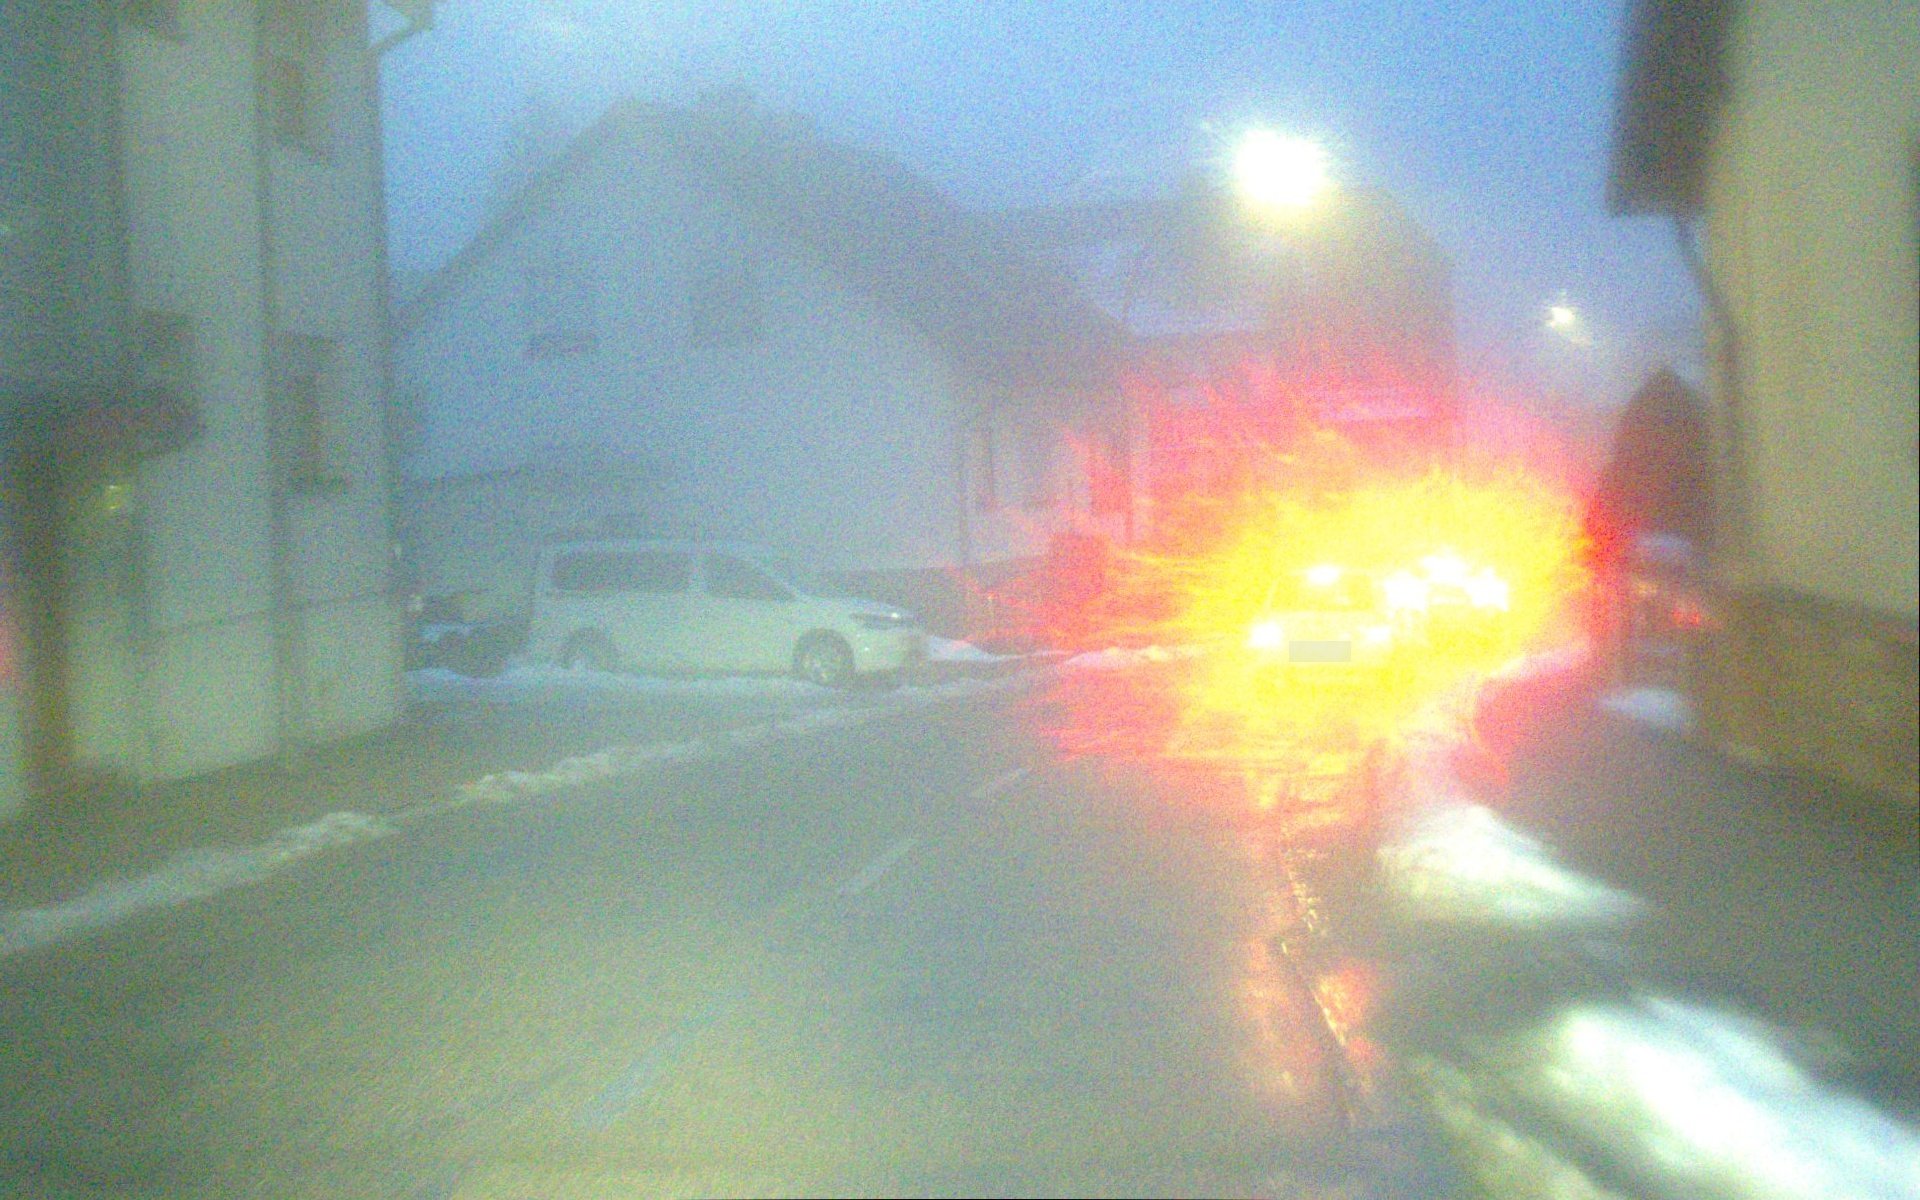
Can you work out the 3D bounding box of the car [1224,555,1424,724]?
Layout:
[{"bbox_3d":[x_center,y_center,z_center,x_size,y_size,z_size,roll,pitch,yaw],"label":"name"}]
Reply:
[{"bbox_3d":[4.316,0.421,40.263,1.994,1.502,4.000,-4,4,10],"label":"car"}]

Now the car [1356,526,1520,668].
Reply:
[{"bbox_3d":[7.692,-0.085,54.992,1.995,1.831,3.998,-3,4,15],"label":"car"}]

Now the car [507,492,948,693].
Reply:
[{"bbox_3d":[-2.776,-0.094,41.304,4.736,2.006,1.999,-3,4,18],"label":"car"}]

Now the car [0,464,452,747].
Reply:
[{"bbox_3d":[-7.065,-0.003,33.046,3.986,2.269,2.001,-5,4,-13],"label":"car"}]

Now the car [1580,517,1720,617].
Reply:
[{"bbox_3d":[14.605,-0.723,72.555,2.253,1.634,4.846,-3,4,18],"label":"car"}]
